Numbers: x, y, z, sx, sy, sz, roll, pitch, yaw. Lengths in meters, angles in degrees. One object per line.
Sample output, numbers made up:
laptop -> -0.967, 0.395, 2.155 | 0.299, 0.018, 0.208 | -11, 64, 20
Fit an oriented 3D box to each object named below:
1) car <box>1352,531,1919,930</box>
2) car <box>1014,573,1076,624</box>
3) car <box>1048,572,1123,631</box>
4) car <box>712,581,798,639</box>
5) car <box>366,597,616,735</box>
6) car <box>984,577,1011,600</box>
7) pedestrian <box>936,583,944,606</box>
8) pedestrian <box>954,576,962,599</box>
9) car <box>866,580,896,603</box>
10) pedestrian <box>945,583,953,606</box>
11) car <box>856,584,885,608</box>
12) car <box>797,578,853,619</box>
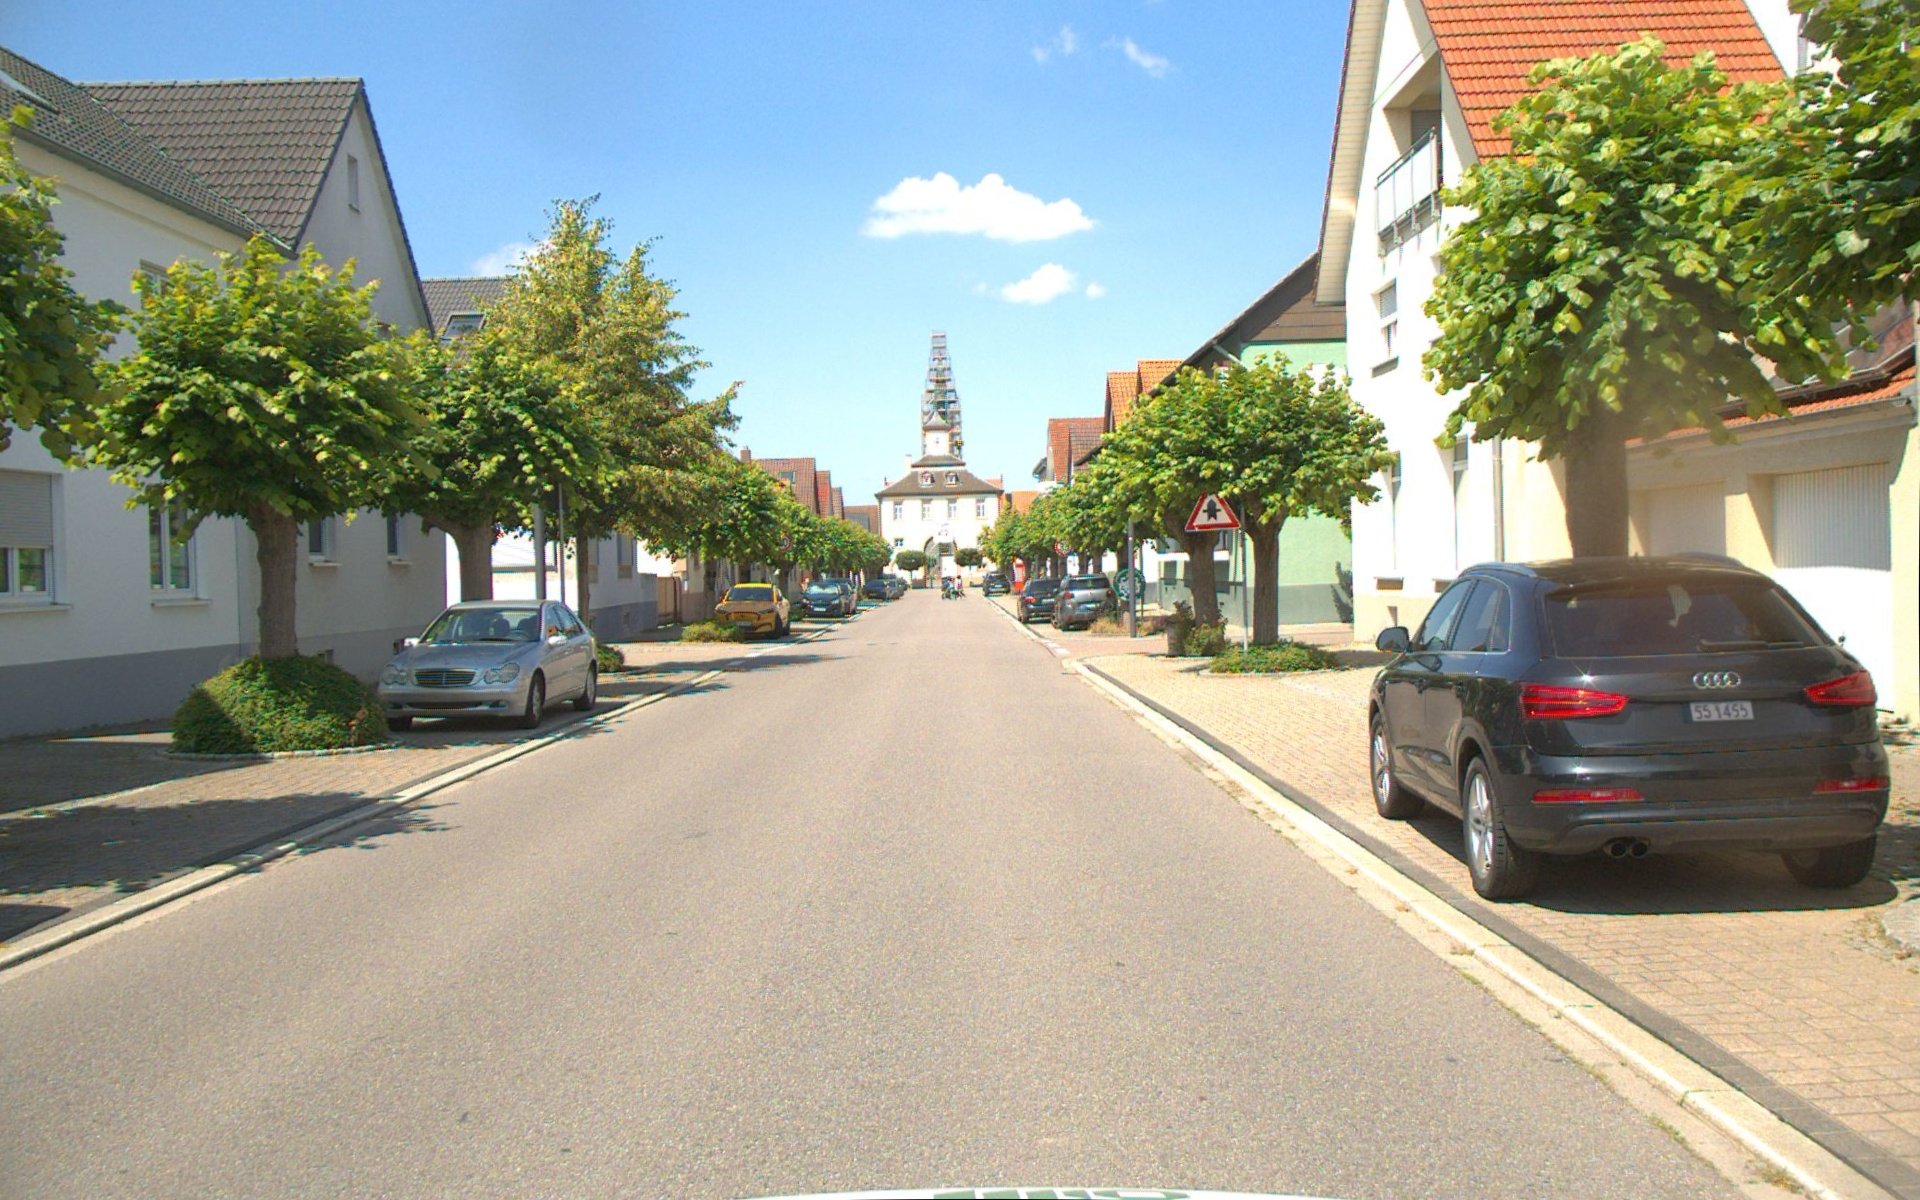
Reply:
car -> 3.446, 0.518, 9.055 | 1.786, 1.613, 4.059 | -3, 1, 3
car -> 2.891, -0.076, 57.029 | 1.800, 1.582, 4.313 | -3, 1, -1
car -> 3.702, 0.026, 49.414 | 1.800, 1.635, 3.999 | -1, 1, -2
car -> -6.096, 0.262, 49.752 | 1.952, 1.639, 4.689 | 0, 1, 1
car -> -5.503, 0.702, 19.985 | 1.803, 1.420, 4.406 | -1, 1, -1
car -> 2.677, -0.847, 120.151 | 1.800, 1.582, 4.314 | -3, 1, 0
pedestrian -> -1.302, -0.361, 106.241 | 0.352, 1.427, 0.319 | -1, 0, 37
pedestrian -> -0.116, -0.812, 105.416 | 0.352, 1.427, 0.319 | -1, 0, 37
car -> -5.719, -0.596, 119.832 | 1.952, 1.639, 3.855 | 0, 0, 0
pedestrian -> -0.712, -0.359, 106.363 | 0.352, 1.427, 0.319 | -1, 0, 37
car -> -6.173, -0.279, 114.085 | 1.721, 1.582, 4.020 | -2, 1, 0
car -> -5.753, -0.096, 71.021 | 1.952, 1.639, 4.689 | 0, 1, 1
